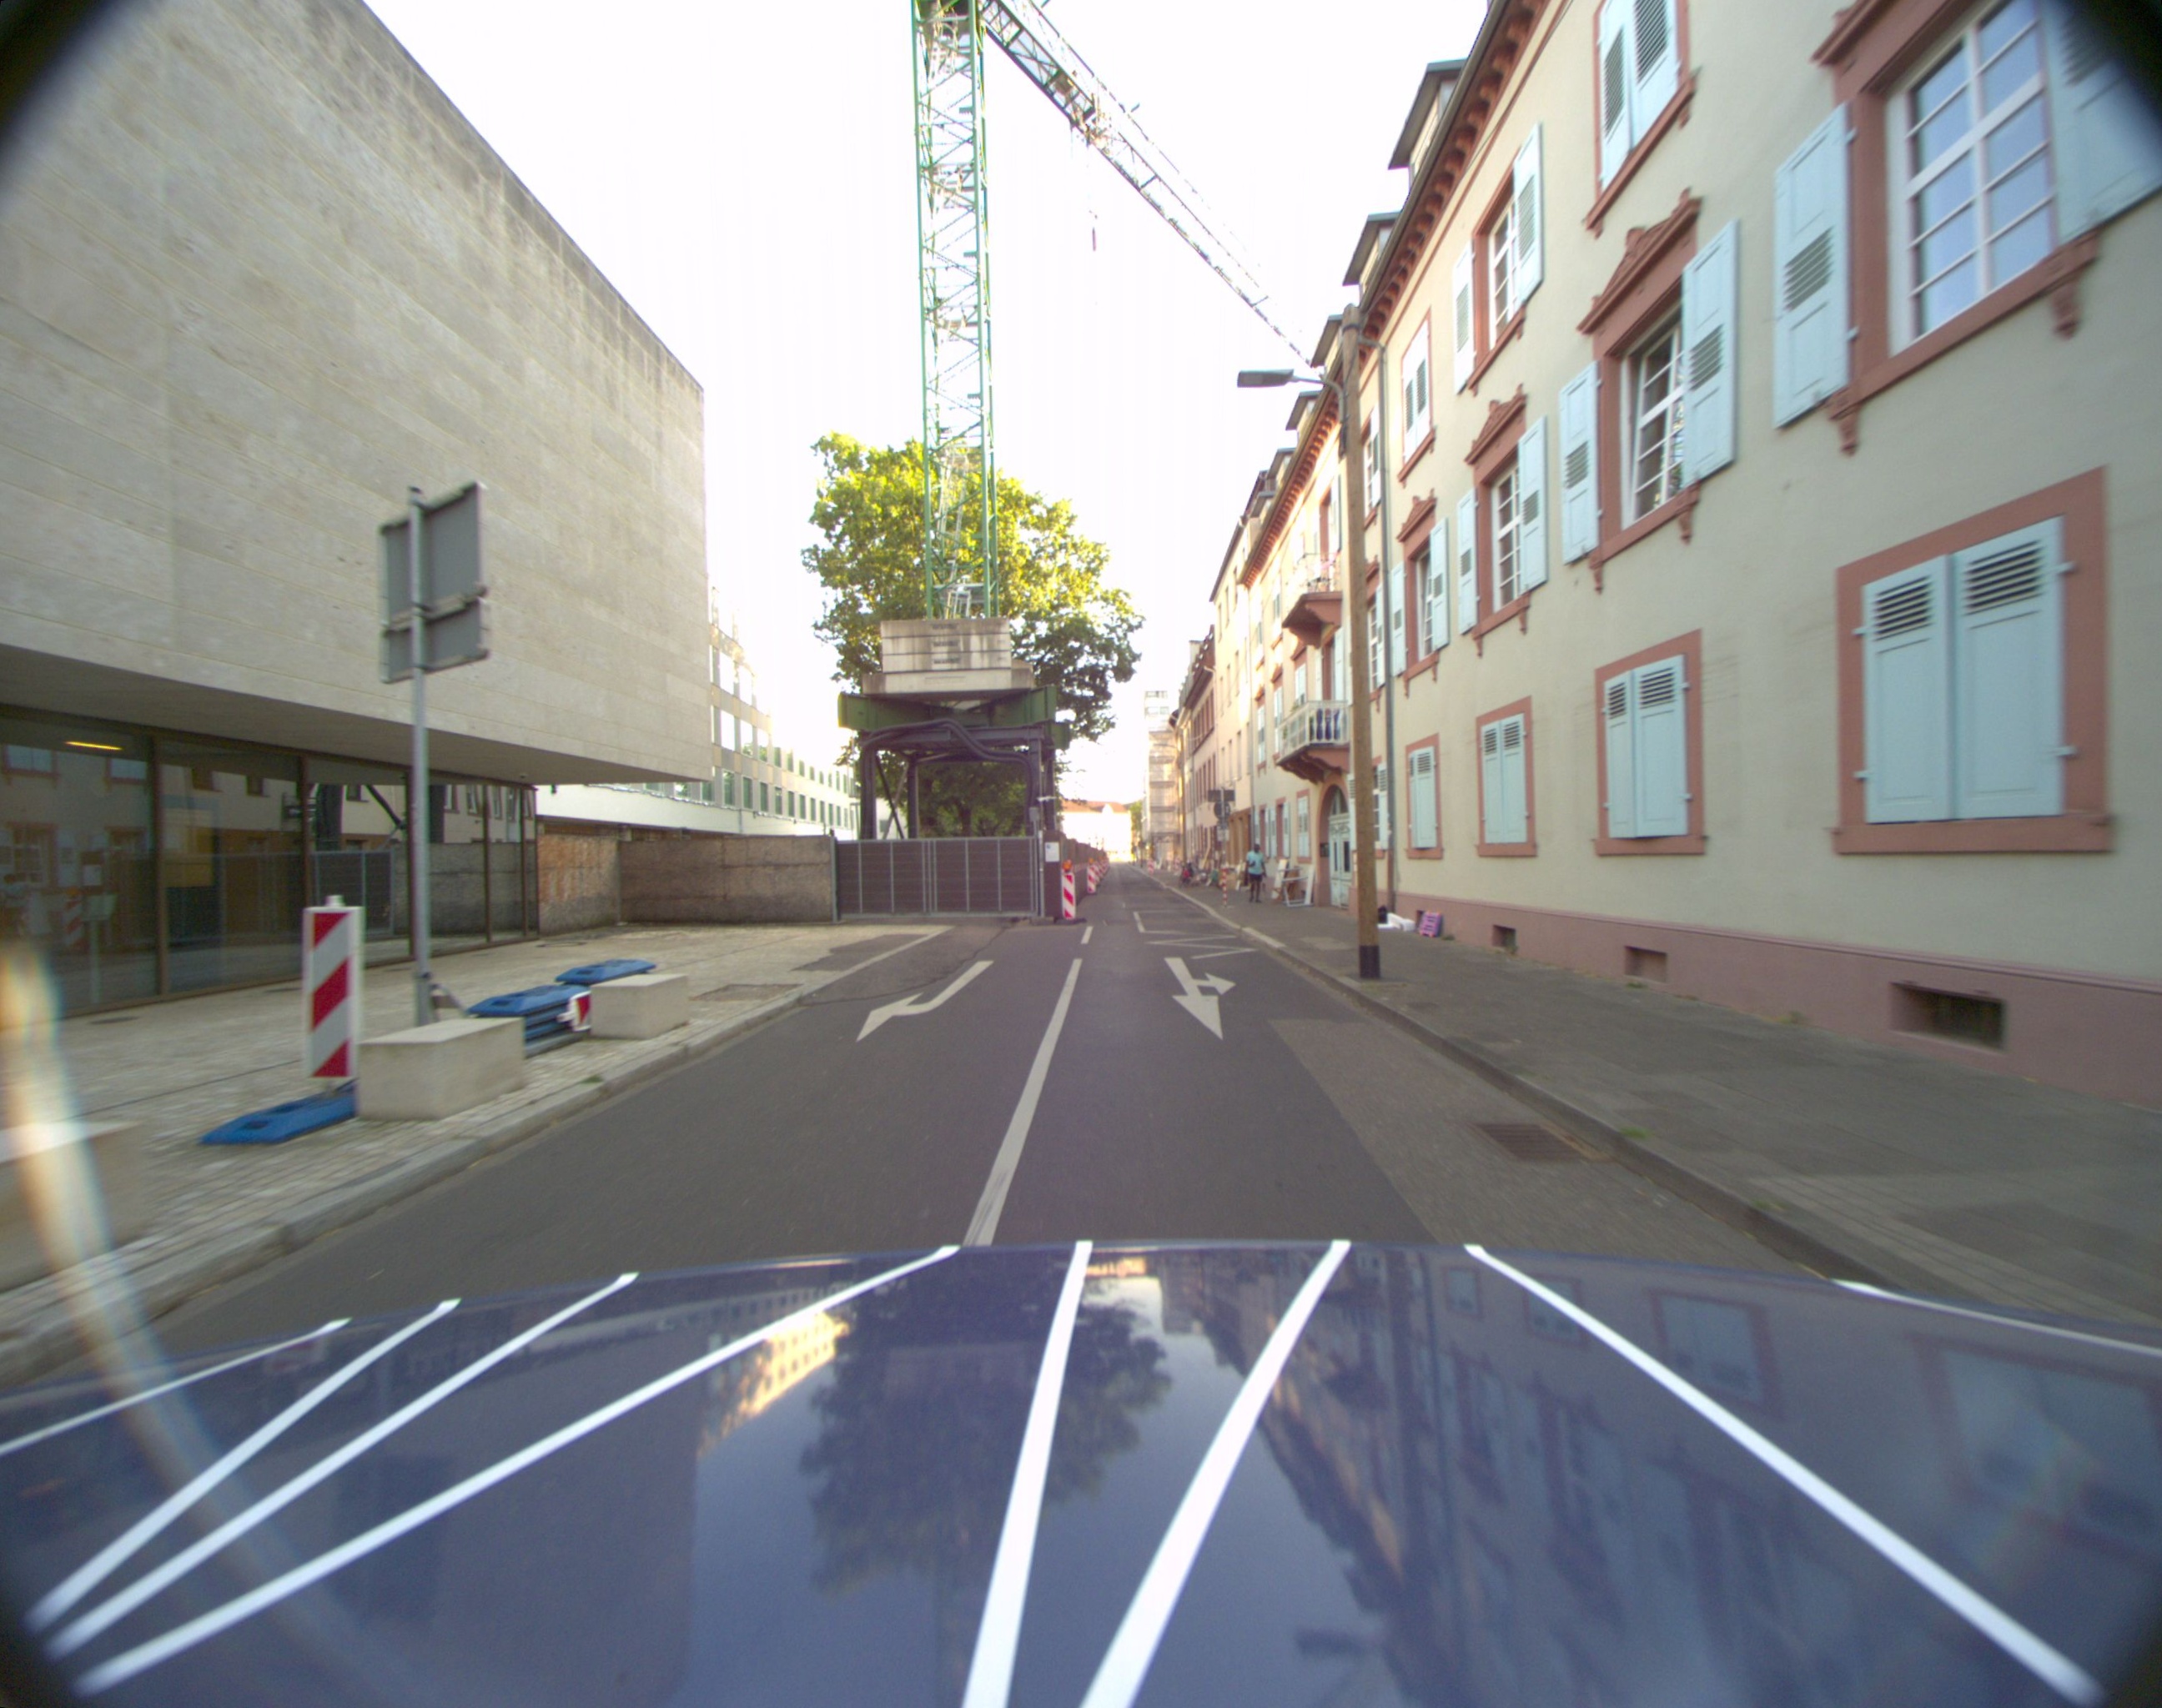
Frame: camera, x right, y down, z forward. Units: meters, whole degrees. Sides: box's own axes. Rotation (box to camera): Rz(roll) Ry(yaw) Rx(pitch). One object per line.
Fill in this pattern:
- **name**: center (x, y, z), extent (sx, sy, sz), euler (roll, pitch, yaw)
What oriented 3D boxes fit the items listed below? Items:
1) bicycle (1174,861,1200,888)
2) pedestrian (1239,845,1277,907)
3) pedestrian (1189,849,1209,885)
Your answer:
- **bicycle**: center (4.853, 0.932, 34.712), extent (0.659, 1.163, 1.611), euler (-2, 0, 28)
- **pedestrian**: center (5.048, 0.611, 21.708), extent (0.826, 1.687, 0.649), euler (-4, 0, 1)
- **pedestrian**: center (5.549, 0.610, 35.755), extent (0.826, 1.687, 0.649), euler (-2, 0, 1)
